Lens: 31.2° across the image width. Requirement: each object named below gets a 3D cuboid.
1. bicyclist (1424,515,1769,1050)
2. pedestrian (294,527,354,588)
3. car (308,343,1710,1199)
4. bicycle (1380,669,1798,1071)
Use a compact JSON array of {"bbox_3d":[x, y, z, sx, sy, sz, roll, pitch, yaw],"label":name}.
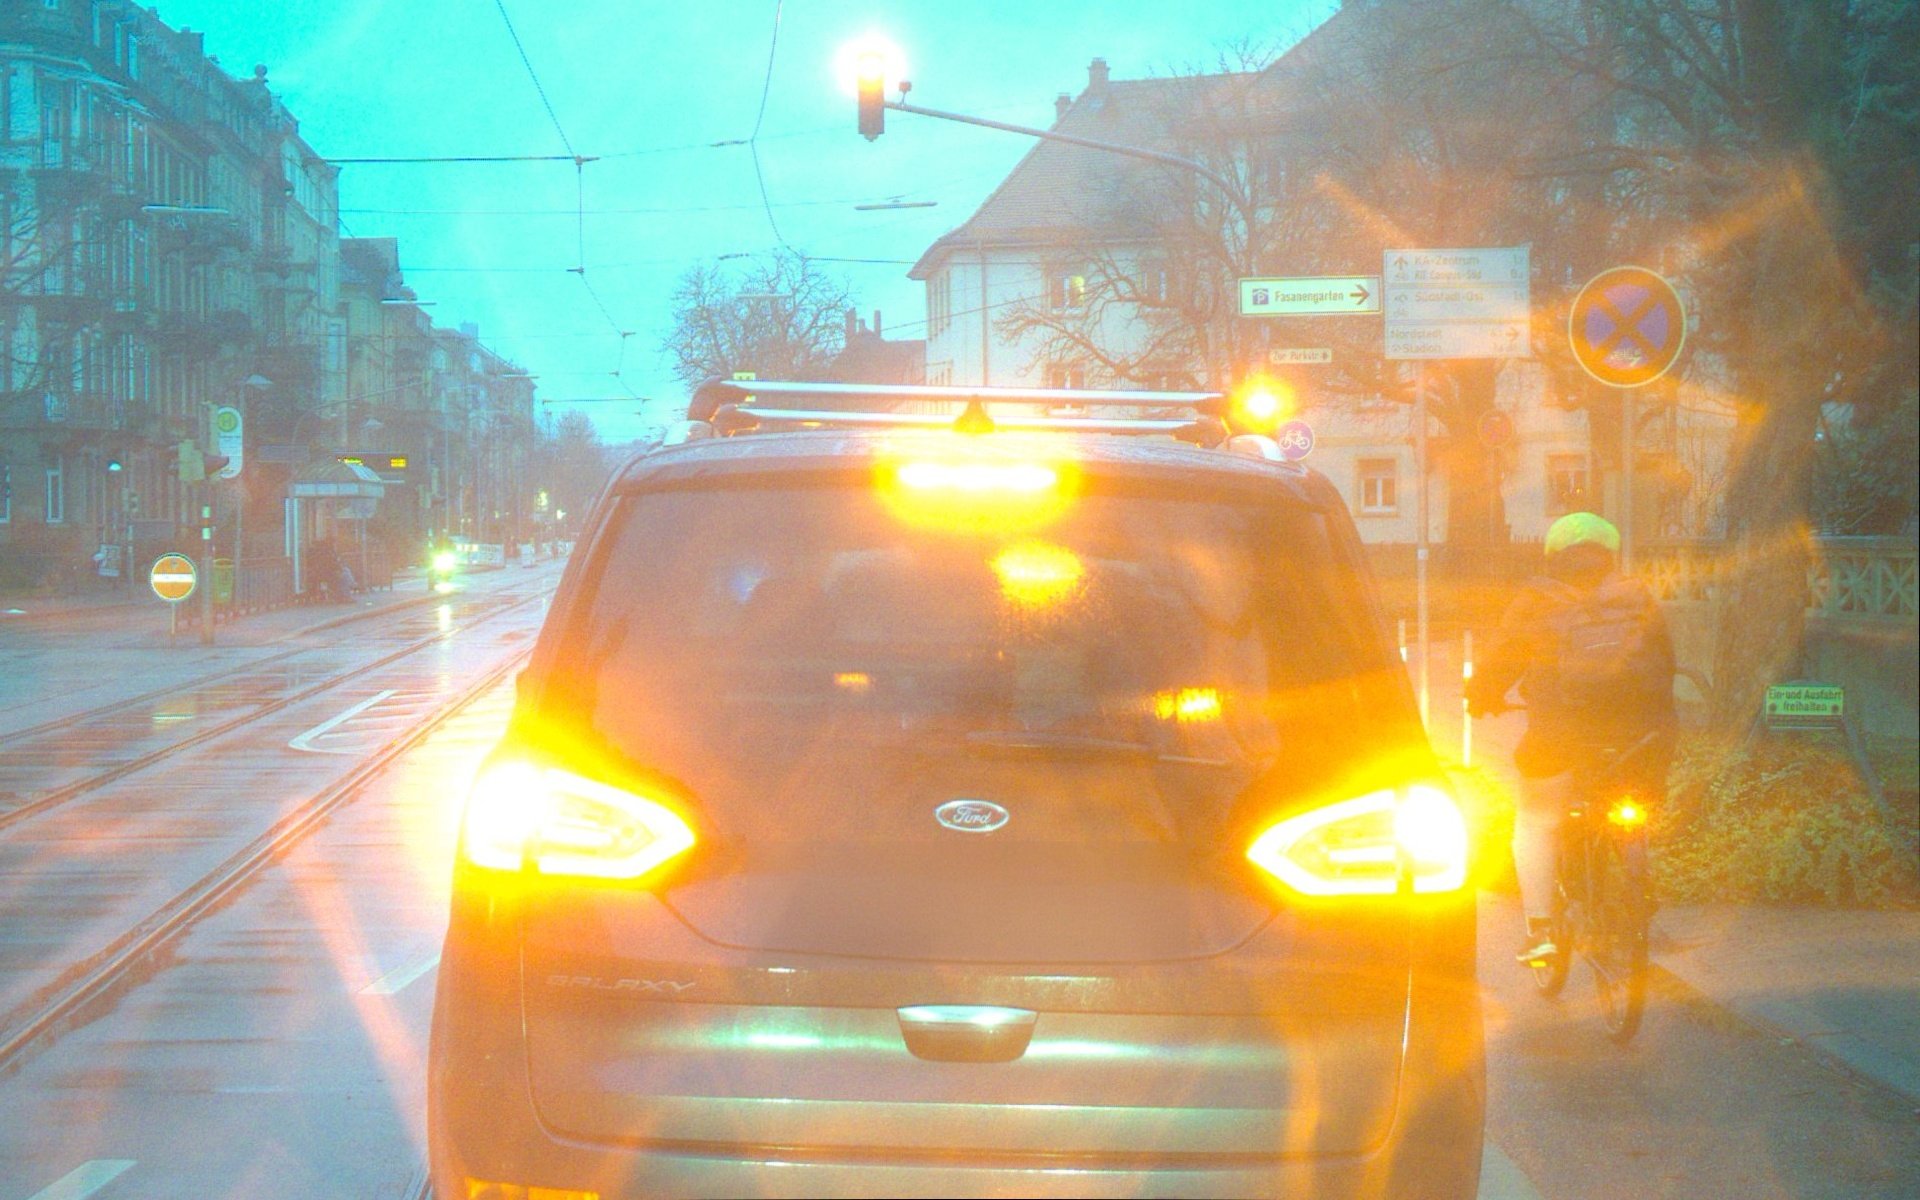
[{"bbox_3d":[2.082,0.569,11.374,0.716,1.657,1.057,3,1,-8],"label":"bicyclist"},{"bbox_3d":[-12.614,-0.849,68.205,1.047,1.196,0.885,0,0,-3],"label":"pedestrian"},{"bbox_3d":[-0.012,0.493,7.569,2.103,1.810,4.661,2,1,-2],"label":"car"},{"bbox_3d":[2.044,0.849,11.481,0.716,1.108,1.942,4,1,-8],"label":"bicycle"}]
